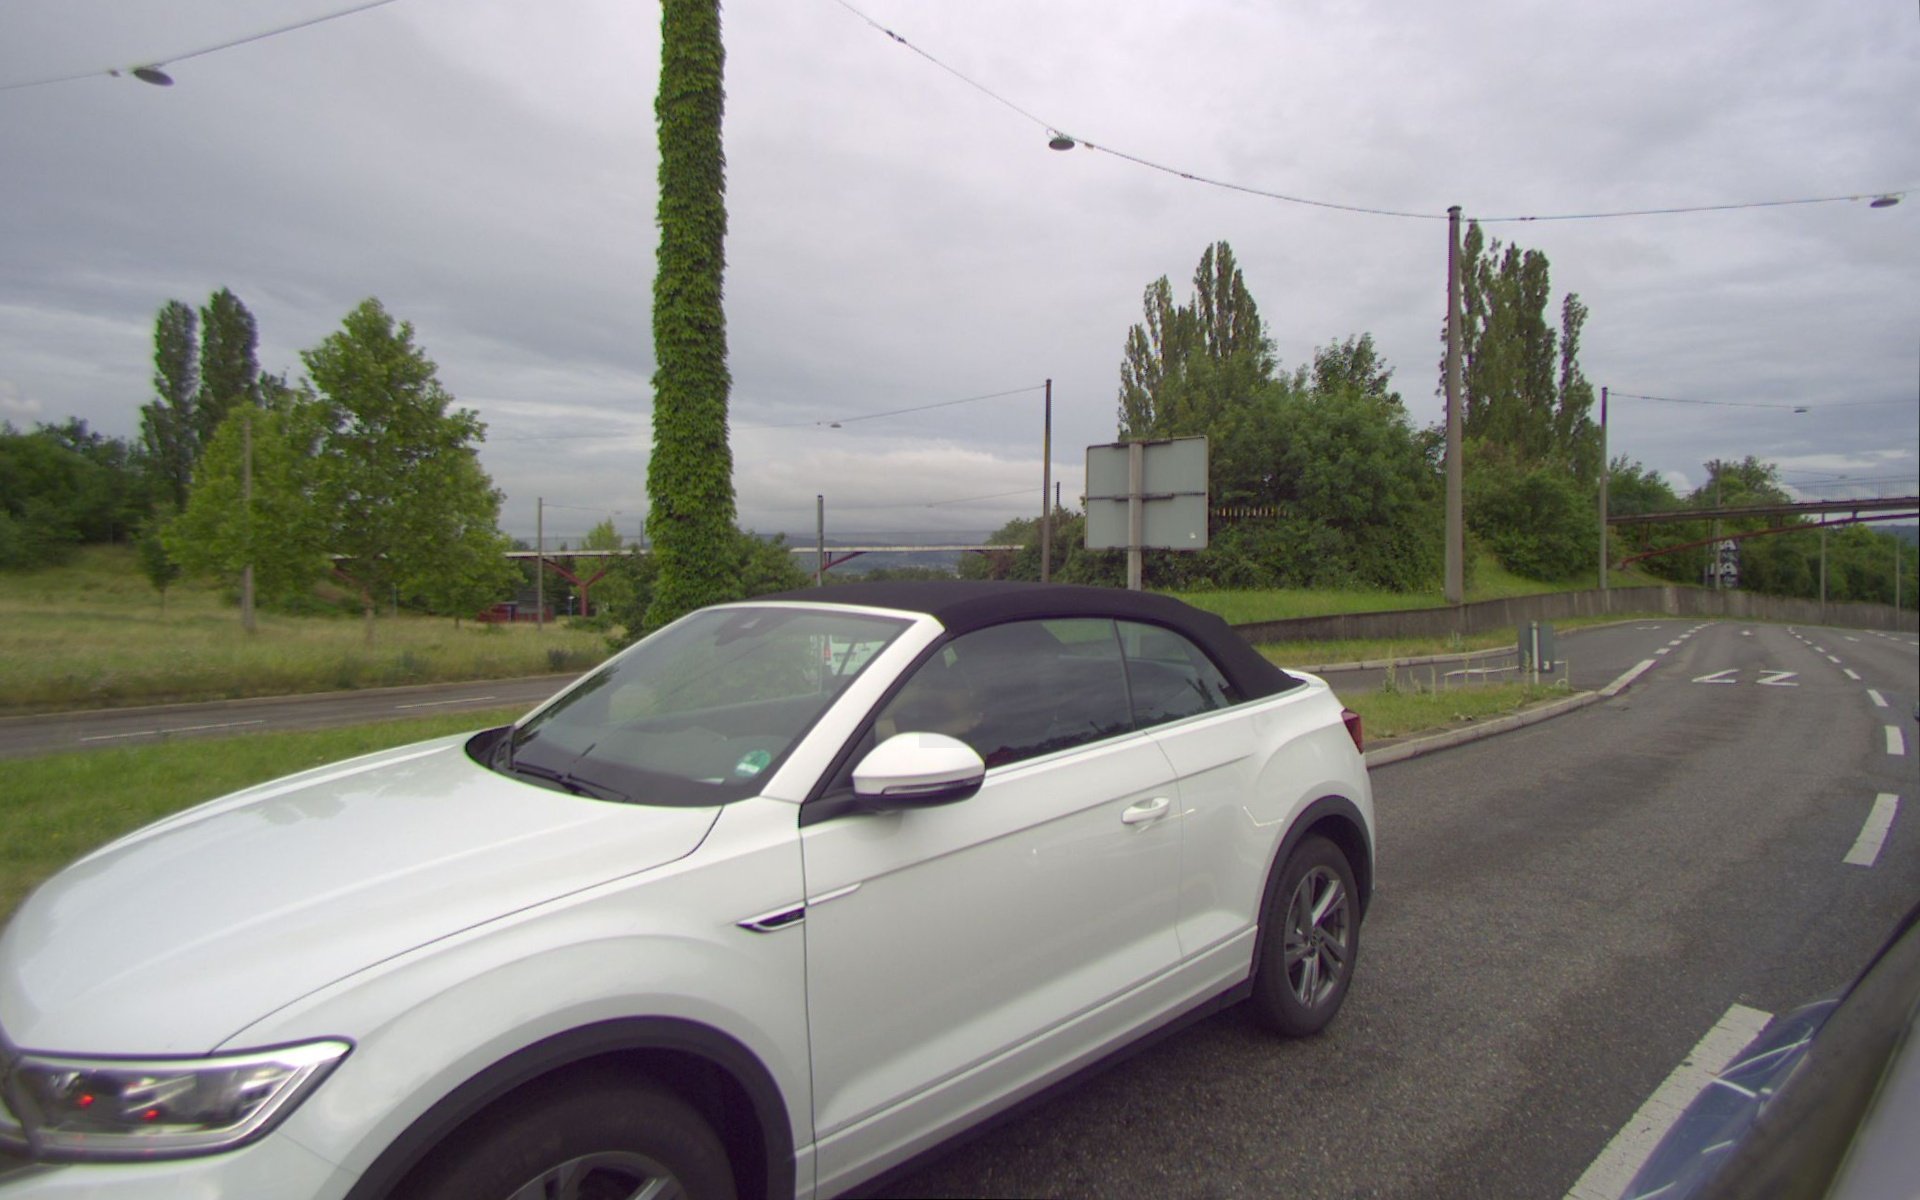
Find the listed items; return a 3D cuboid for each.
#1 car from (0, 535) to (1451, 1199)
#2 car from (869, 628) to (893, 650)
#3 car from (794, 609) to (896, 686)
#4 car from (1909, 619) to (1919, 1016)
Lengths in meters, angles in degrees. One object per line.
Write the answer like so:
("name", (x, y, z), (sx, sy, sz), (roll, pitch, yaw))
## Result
("car", (-0.250, 0.674, 3.100), (4.157, 1.572, 1.716), (-1, 1, -42))
("car", (-5.471, 2.667, 70.348), (1.652, 1.438, 4.083), (-1, -1, -4))
("car", (-3.257, 1.264, 27.770), (1.958, 1.872, 4.831), (-1, -2, -16))
("car", (5.488, 0.749, 4.194), (4.063, 1.385, 1.893), (-1, 1, -41))
